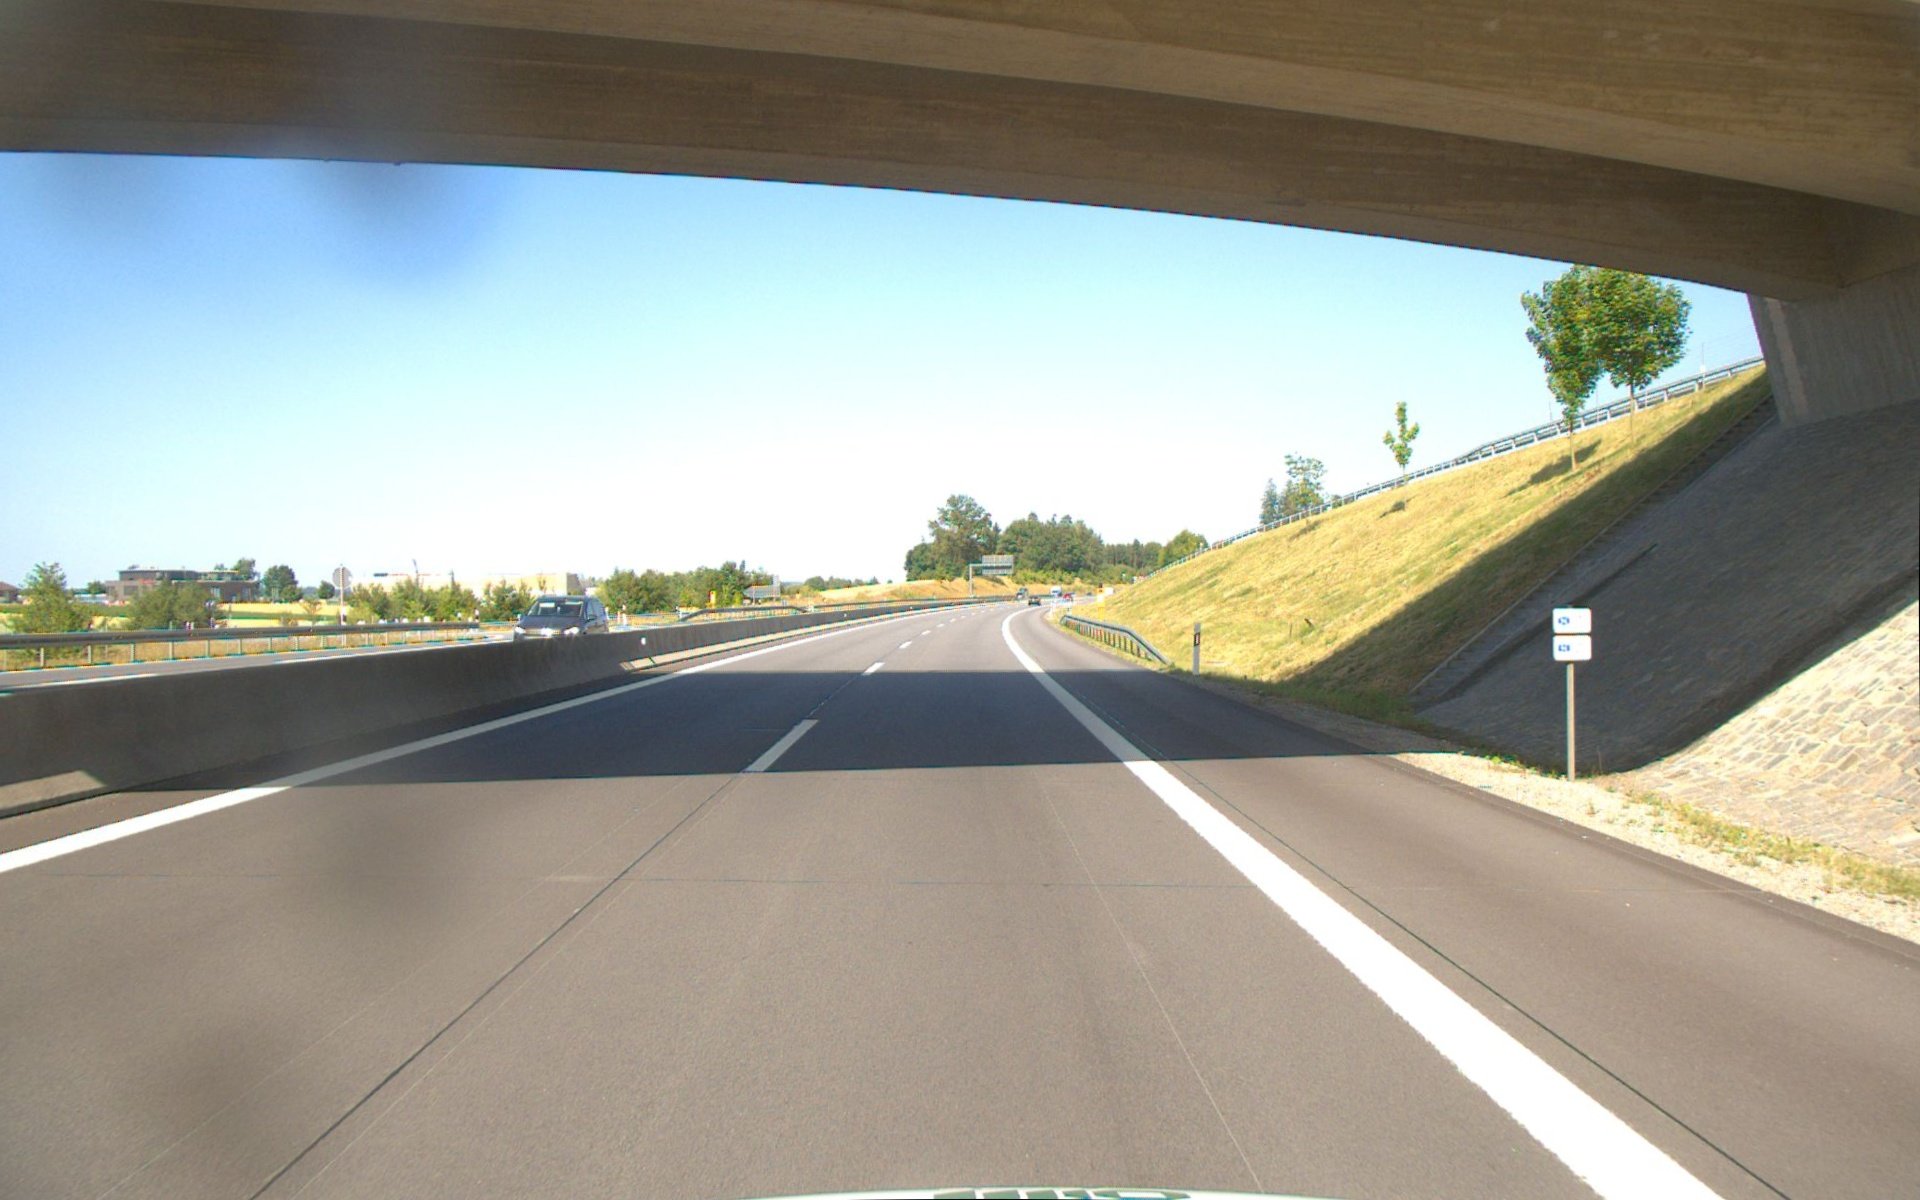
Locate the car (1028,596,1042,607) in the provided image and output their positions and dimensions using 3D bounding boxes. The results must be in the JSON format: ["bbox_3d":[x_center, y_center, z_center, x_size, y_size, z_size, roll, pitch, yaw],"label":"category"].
[{"bbox_3d":[11.220,0.210,247.314,1.951,1.445,4.002,-2,0,4],"label":"car"}]

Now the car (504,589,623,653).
[{"bbox_3d":[-10.468,0.523,44.050,2.027,1.602,4.926,0,0,-1],"label":"car"}]
